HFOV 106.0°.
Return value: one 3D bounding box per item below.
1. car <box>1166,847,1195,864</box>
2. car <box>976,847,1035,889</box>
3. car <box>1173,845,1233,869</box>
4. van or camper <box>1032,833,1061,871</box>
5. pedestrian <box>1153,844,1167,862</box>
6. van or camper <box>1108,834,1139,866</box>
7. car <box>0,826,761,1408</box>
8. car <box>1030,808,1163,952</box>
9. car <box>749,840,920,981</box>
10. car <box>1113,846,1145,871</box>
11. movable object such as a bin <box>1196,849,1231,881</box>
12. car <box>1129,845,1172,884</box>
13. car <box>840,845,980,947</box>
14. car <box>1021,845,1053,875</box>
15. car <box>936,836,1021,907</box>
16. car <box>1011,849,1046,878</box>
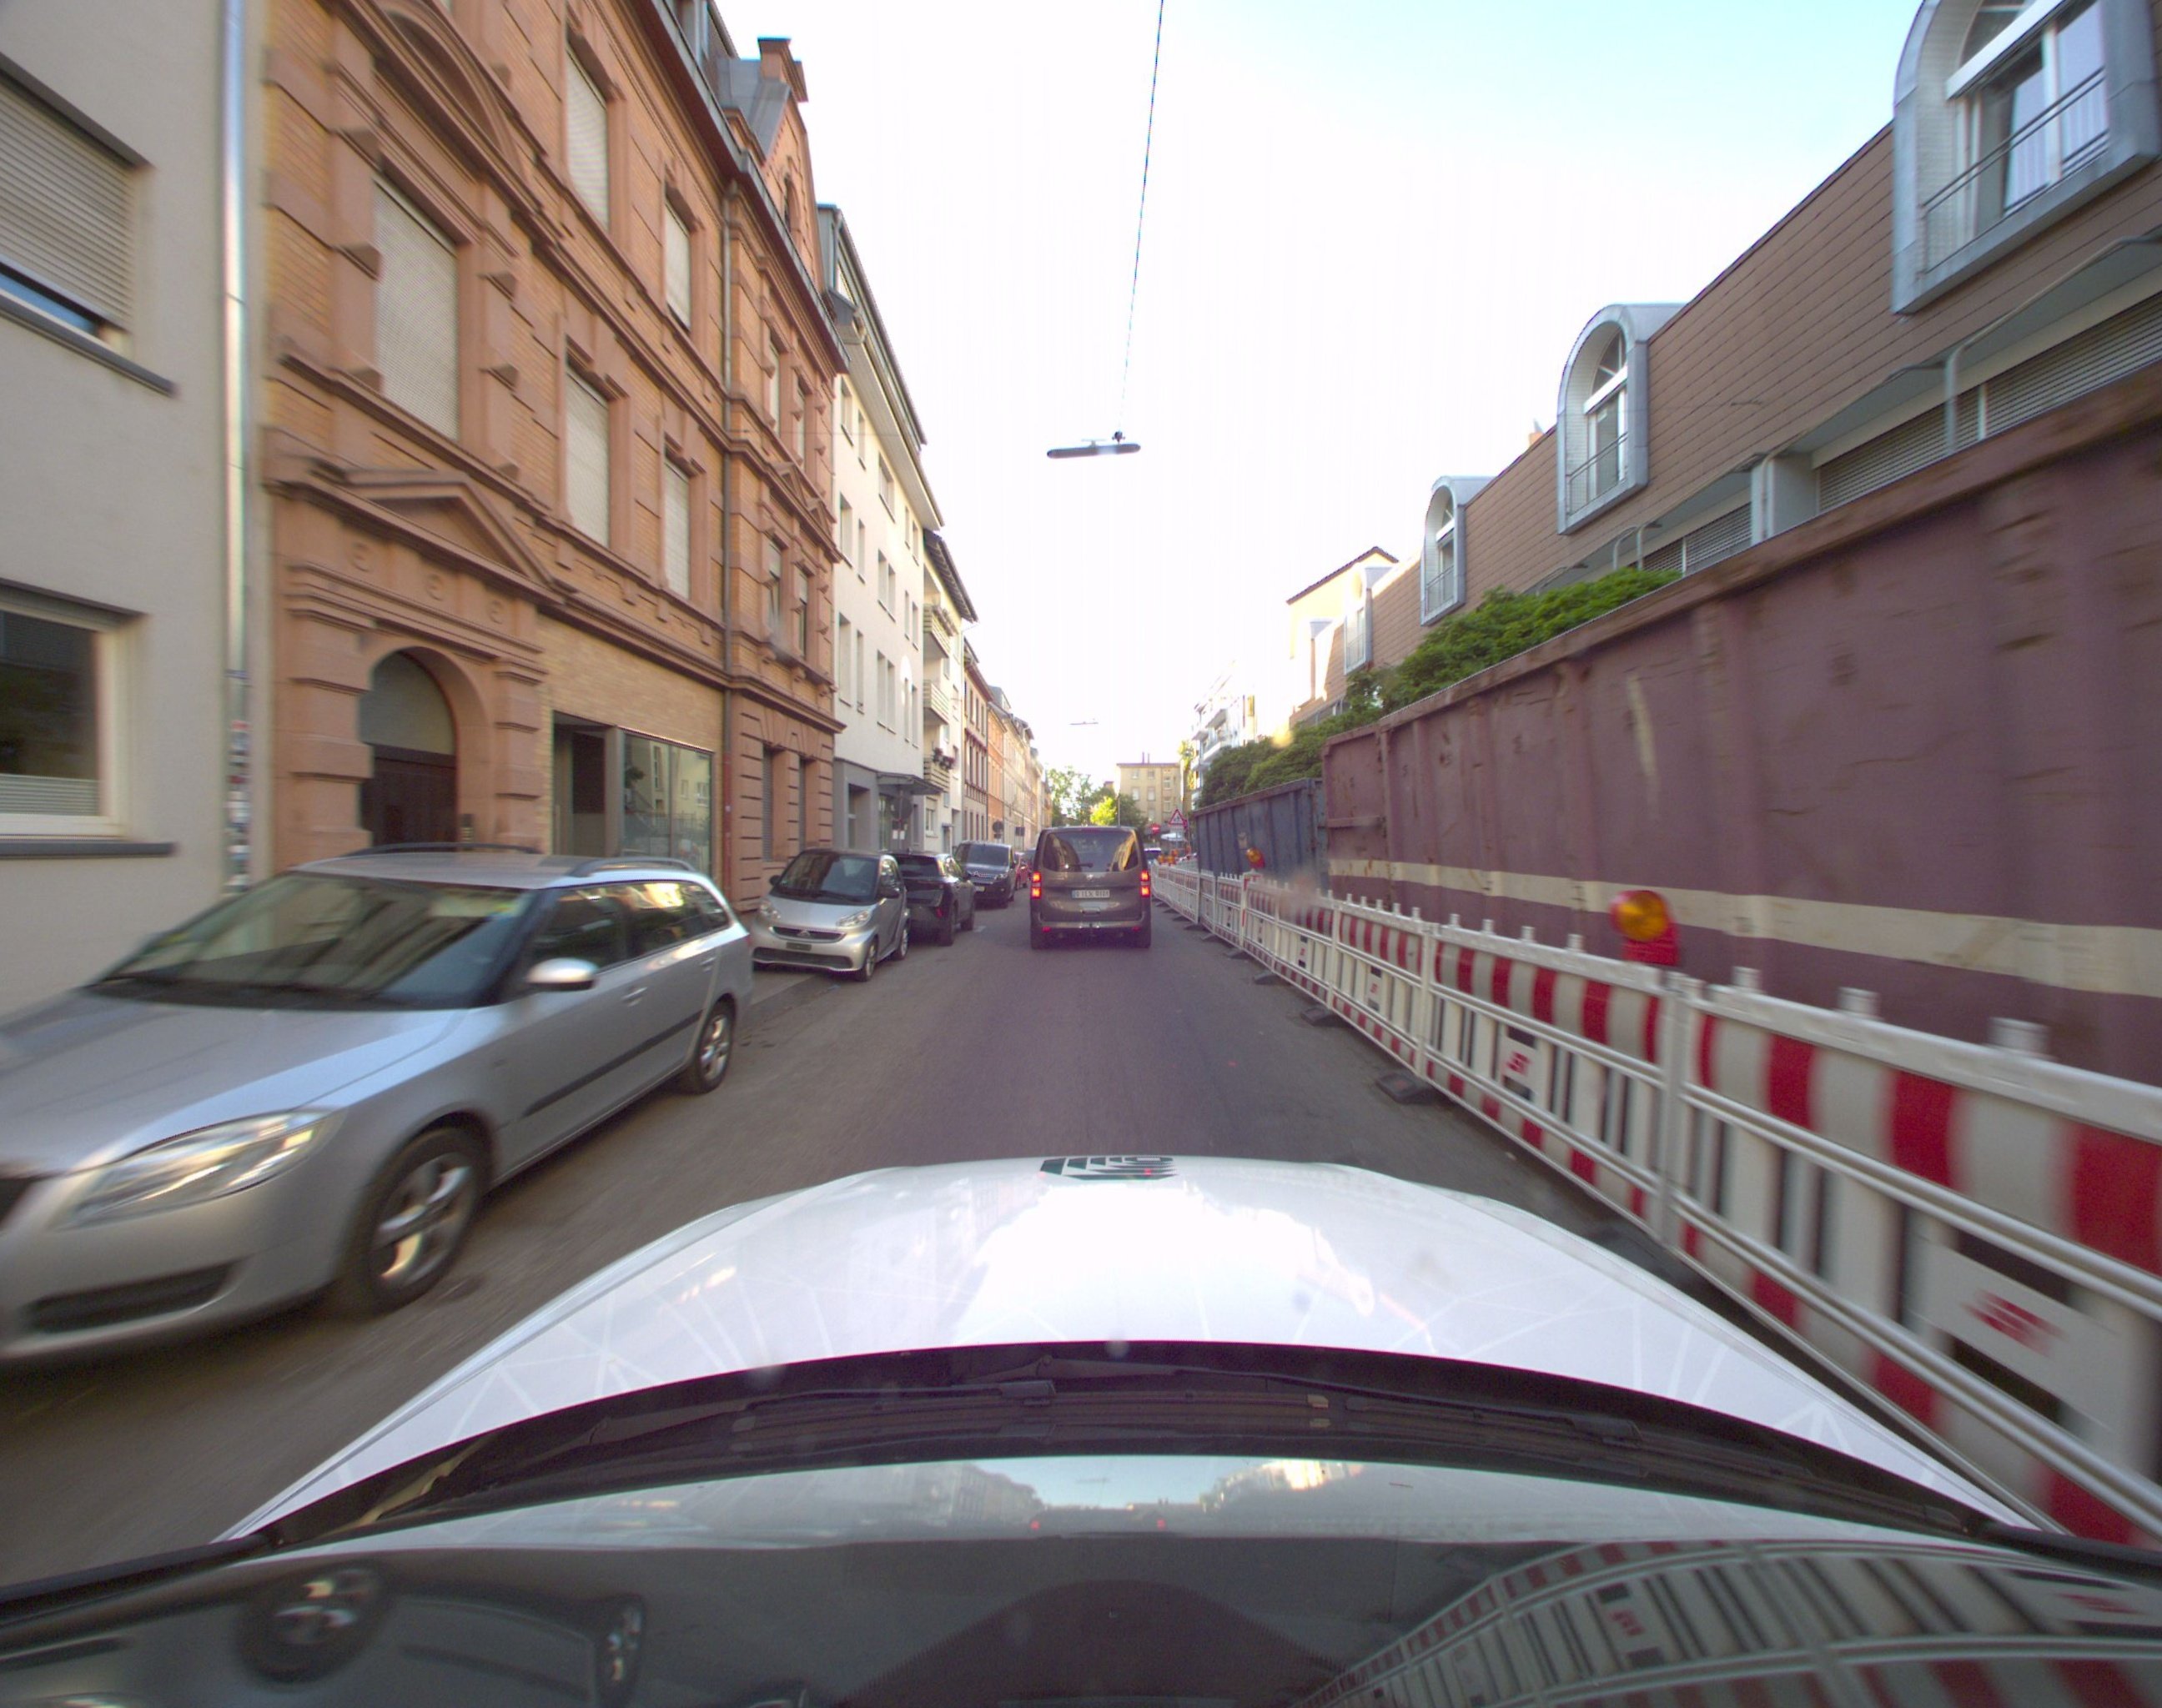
[{"bbox_3d":[8.289,0.125,67.811,1.586,1.416,3.247,-1,0,23],"label":"car"},{"bbox_3d":[-3.033,0.536,33.348,1.661,1.485,3.611,5,1,5],"label":"car"},{"bbox_3d":[8.290,0.221,55.536,3.884,1.607,1.693,0,0,-2],"label":"car"},{"bbox_3d":[-2.534,-0.175,60.259,1.944,2.649,7.135,-1,0,-2],"label":"van or camper"},{"bbox_3d":[7.708,-0.062,79.624,0.939,1.720,1.052,-1,0,-34],"label":"pedestrian"},{"bbox_3d":[3.620,-0.338,70.716,2.094,2.602,7.507,-1,0,-2],"label":"van or camper"},{"bbox_3d":[-3.016,0.679,3.940,1.551,1.508,3.595,2,0,-2],"label":"car"},{"bbox_3d":[0.203,0.352,13.783,1.852,2.013,3.999,-2,1,-1],"label":"car"},{"bbox_3d":[-3.143,0.642,10.872,1.392,1.588,2.793,2,1,-1],"label":"car"},{"bbox_3d":[3.181,0.303,54.610,1.718,1.612,4.584,0,0,-3],"label":"car"},{"bbox_3d":[5.807,0.467,35.788,1.257,1.376,0.795,1,0,-26],"label":"movable object such as a bin"},{"bbox_3d":[3.140,0.433,37.368,1.742,1.683,4.528,1,1,2],"label":"car"},{"bbox_3d":[-2.933,0.645,14.813,1.735,1.599,4.013,0,0,-1],"label":"car"},{"bbox_3d":[-2.626,0.346,48.923,1.706,1.644,3.977,3,0,-1],"label":"car"},{"bbox_3d":[-2.887,0.442,23.934,1.988,1.858,4.582,0,0,-1],"label":"car"},{"bbox_3d":[-2.764,0.481,43.731,1.652,1.448,3.284,3,0,-1],"label":"car"}]
